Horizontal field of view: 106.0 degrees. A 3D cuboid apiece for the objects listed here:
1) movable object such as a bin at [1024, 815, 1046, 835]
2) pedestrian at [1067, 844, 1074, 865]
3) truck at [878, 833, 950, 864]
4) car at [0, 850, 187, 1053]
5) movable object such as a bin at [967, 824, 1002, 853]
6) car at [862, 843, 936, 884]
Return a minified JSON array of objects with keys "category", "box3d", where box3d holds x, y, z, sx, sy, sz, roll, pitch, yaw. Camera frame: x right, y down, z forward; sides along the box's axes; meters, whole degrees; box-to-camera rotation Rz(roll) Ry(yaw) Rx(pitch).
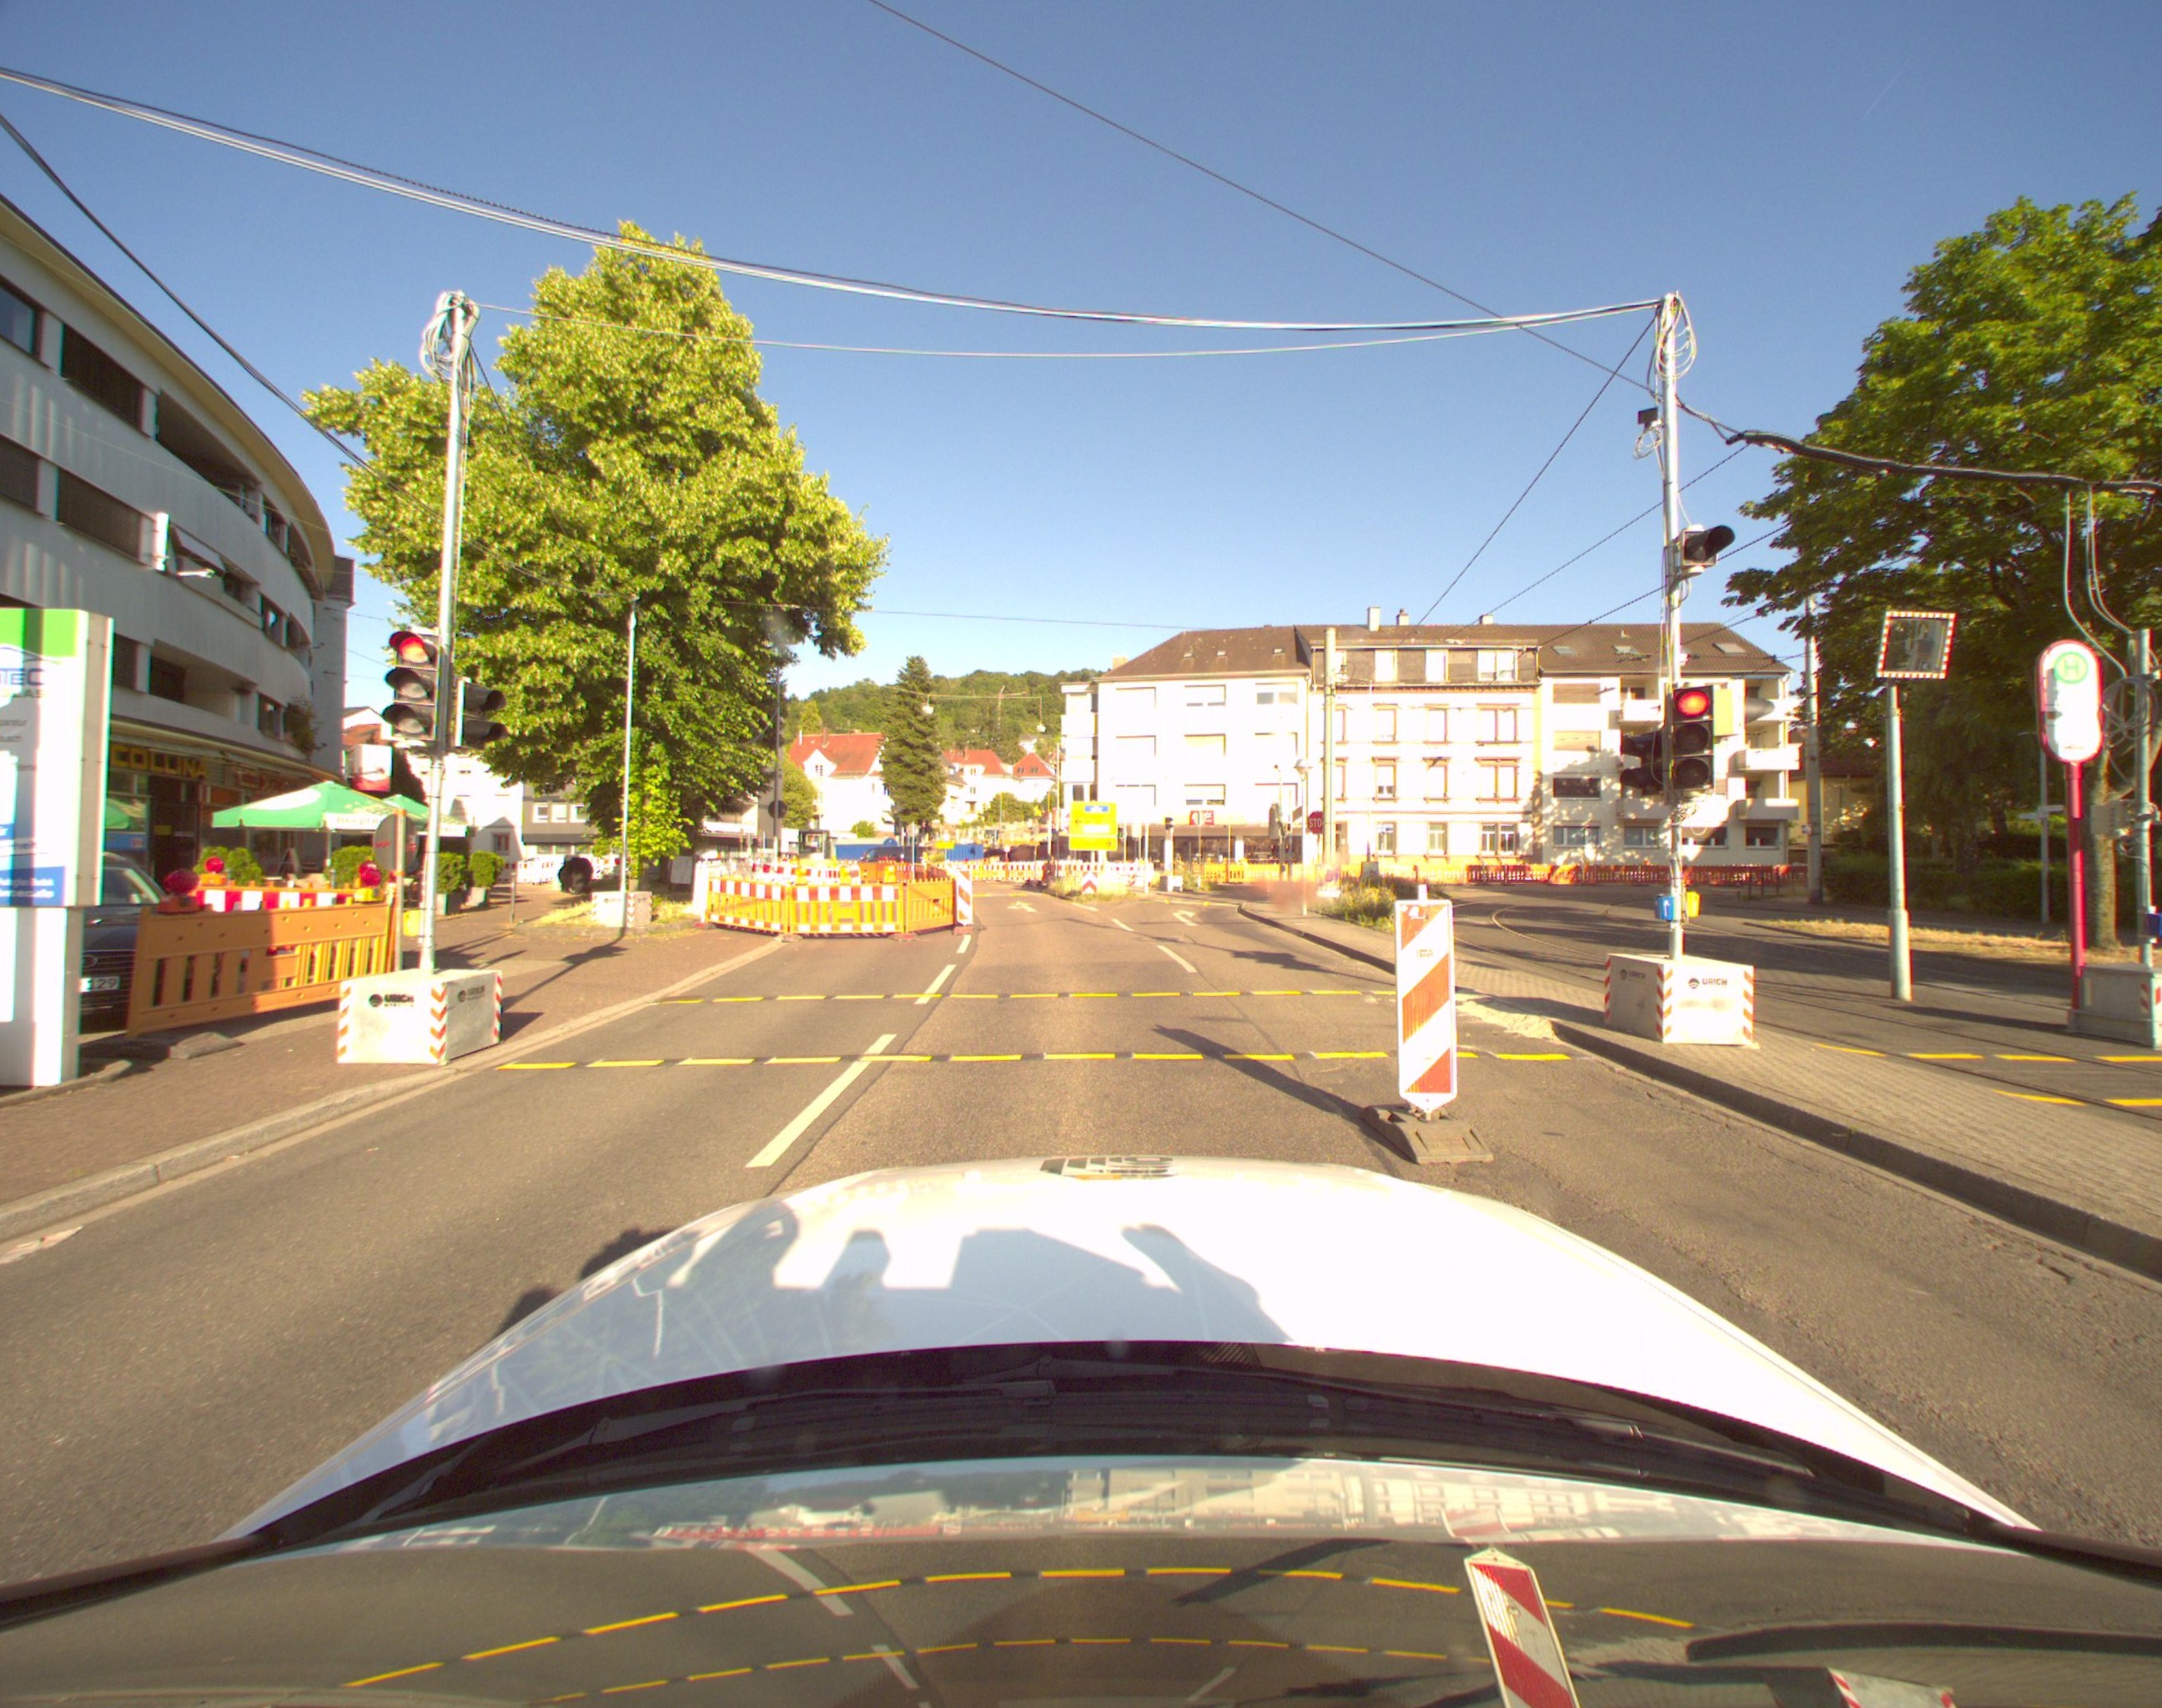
[{"category":"movable object such as a bin","box3d":[-6.423,-4.007,114.201,2.176,2.690,4.013,0,0,12]},{"category":"pedestrian","box3d":[-0.909,0.051,70.835,0.638,1.760,0.718,0,0,2]},{"category":"truck","box3d":[-13.981,-0.414,69.183,2.340,2.416,9.184,0,0,13]},{"category":"car","box3d":[-9.596,0.724,7.541,4.246,1.454,1.660,1,0,43]},{"category":"movable object such as a bin","box3d":[-9.383,-1.489,79.659,2.176,2.690,4.013,0,0,12]},{"category":"car","box3d":[-10.211,0.476,45.390,2.078,2.013,4.944,0,2,-38]}]
